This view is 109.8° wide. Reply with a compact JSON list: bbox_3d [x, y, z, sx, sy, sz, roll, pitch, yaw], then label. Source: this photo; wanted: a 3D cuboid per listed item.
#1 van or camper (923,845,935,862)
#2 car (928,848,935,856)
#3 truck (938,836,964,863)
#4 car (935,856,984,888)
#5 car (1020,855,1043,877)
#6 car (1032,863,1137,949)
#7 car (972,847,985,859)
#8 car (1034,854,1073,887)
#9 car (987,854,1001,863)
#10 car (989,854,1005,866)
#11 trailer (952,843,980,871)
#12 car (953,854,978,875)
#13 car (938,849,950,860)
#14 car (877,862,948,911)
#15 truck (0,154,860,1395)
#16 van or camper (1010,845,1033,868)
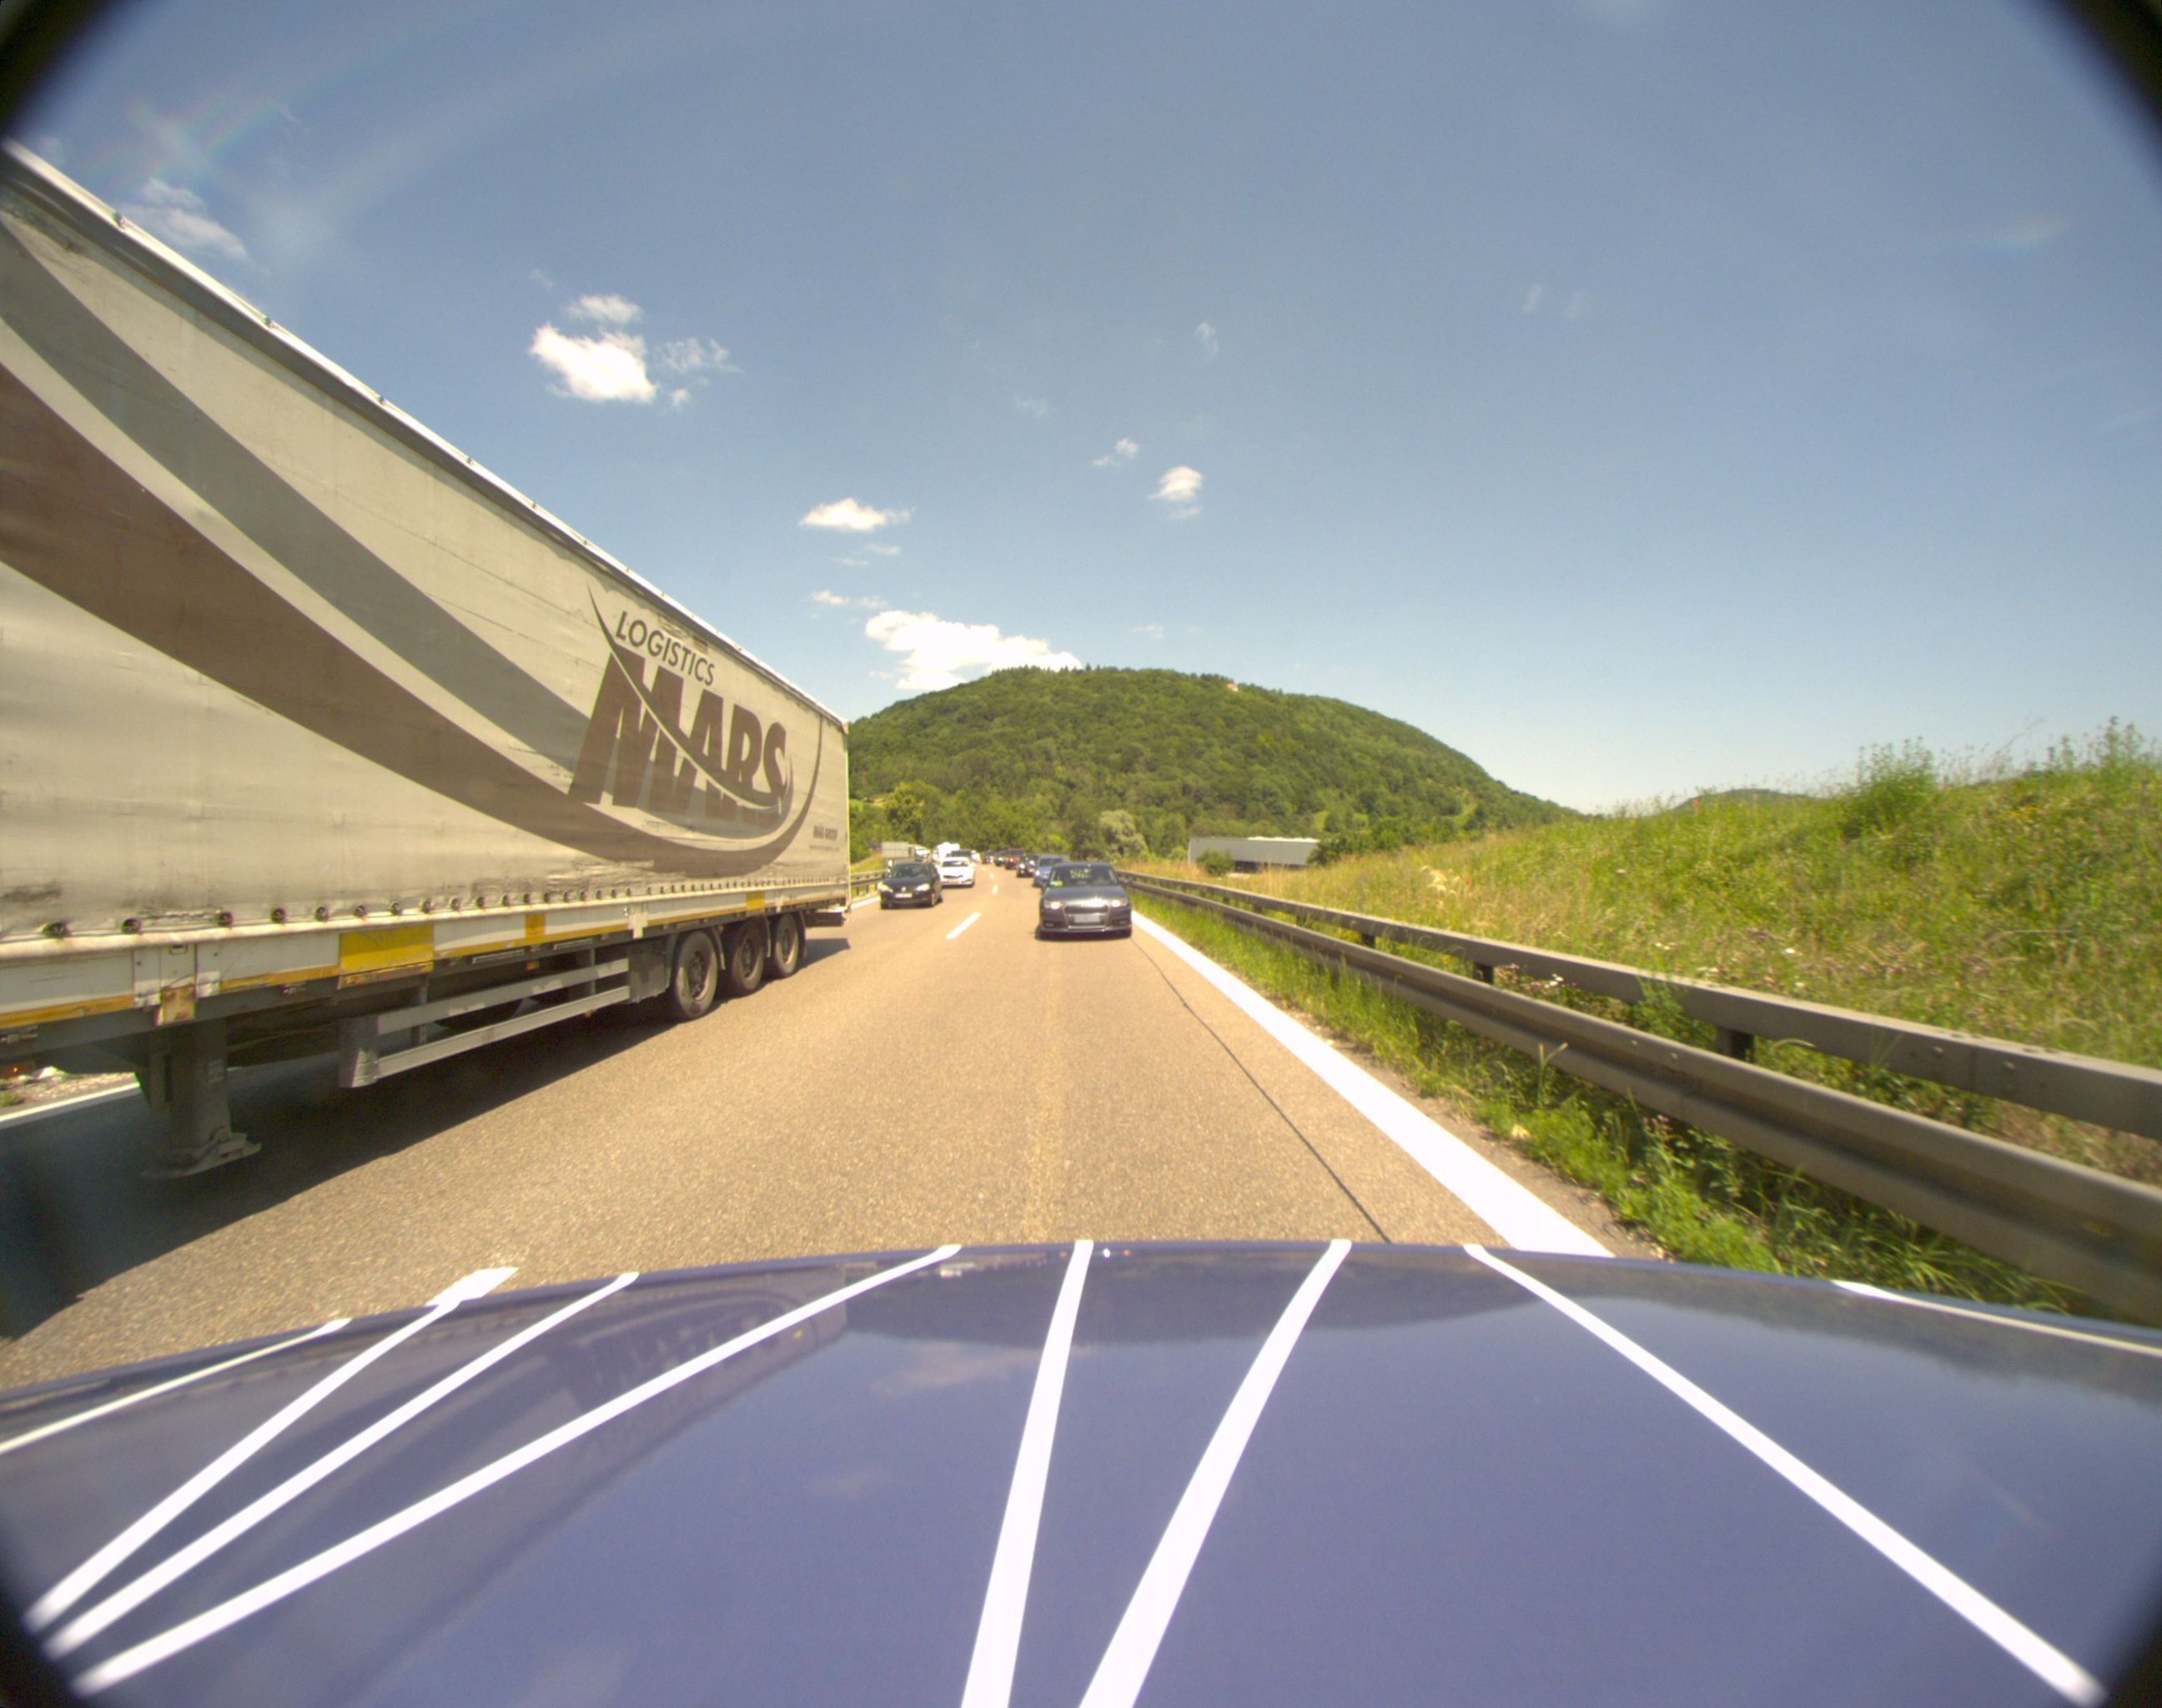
[{"bbox_3d":[-27.162,-0.069,135.850,1.911,3.010,4.868,-1,0,-14],"label":"van or camper"},{"bbox_3d":[-30.272,-0.404,153.617,1.246,1.470,2.957,-4,1,-11],"label":"car"},{"bbox_3d":[-16.030,-0.532,93.131,2.605,3.089,6.851,-4,1,-13],"label":"truck"},{"bbox_3d":[-5.962,0.863,37.606,1.908,1.422,3.721,-2,0,-2],"label":"car"},{"bbox_3d":[-3.201,0.734,49.050,1.287,1.305,3.451,-2,0,-6],"label":"car"},{"bbox_3d":[-0.060,0.921,15.134,1.756,1.382,4.053,-2,0,-4],"label":"car"},{"bbox_3d":[-14.627,-0.106,108.341,1.532,1.627,3.415,-4,1,-12],"label":"car"},{"bbox_3d":[-1.357,0.742,36.355,1.696,1.422,3.461,-2,0,-4],"label":"car"},{"bbox_3d":[-10.527,0.538,92.031,1.492,1.102,3.211,-2,1,-10],"label":"car"},{"bbox_3d":[-8.645,0.622,77.979,1.492,1.102,3.211,-2,1,-7],"label":"car"},{"bbox_3d":[-8.597,0.196,56.987,2.000,1.958,3.996,0,1,-8],"label":"trailer"},{"bbox_3d":[-8.071,0.696,53.114,1.489,1.375,3.736,1,0,-5],"label":"car"},{"bbox_3d":[-20.430,0.121,113.195,1.700,1.523,3.676,-4,1,-11],"label":"car"},{"bbox_3d":[-5.460,1.008,25.037,1.696,1.414,3.837,-2,0,-4],"label":"car"},{"bbox_3d":[-5.039,-0.298,6.446,2.733,4.044,13.736,-1,1,-2],"label":"truck"},{"bbox_3d":[-5.182,0.193,65.960,1.818,1.855,3.611,-2,0,-6],"label":"van or camper"}]
